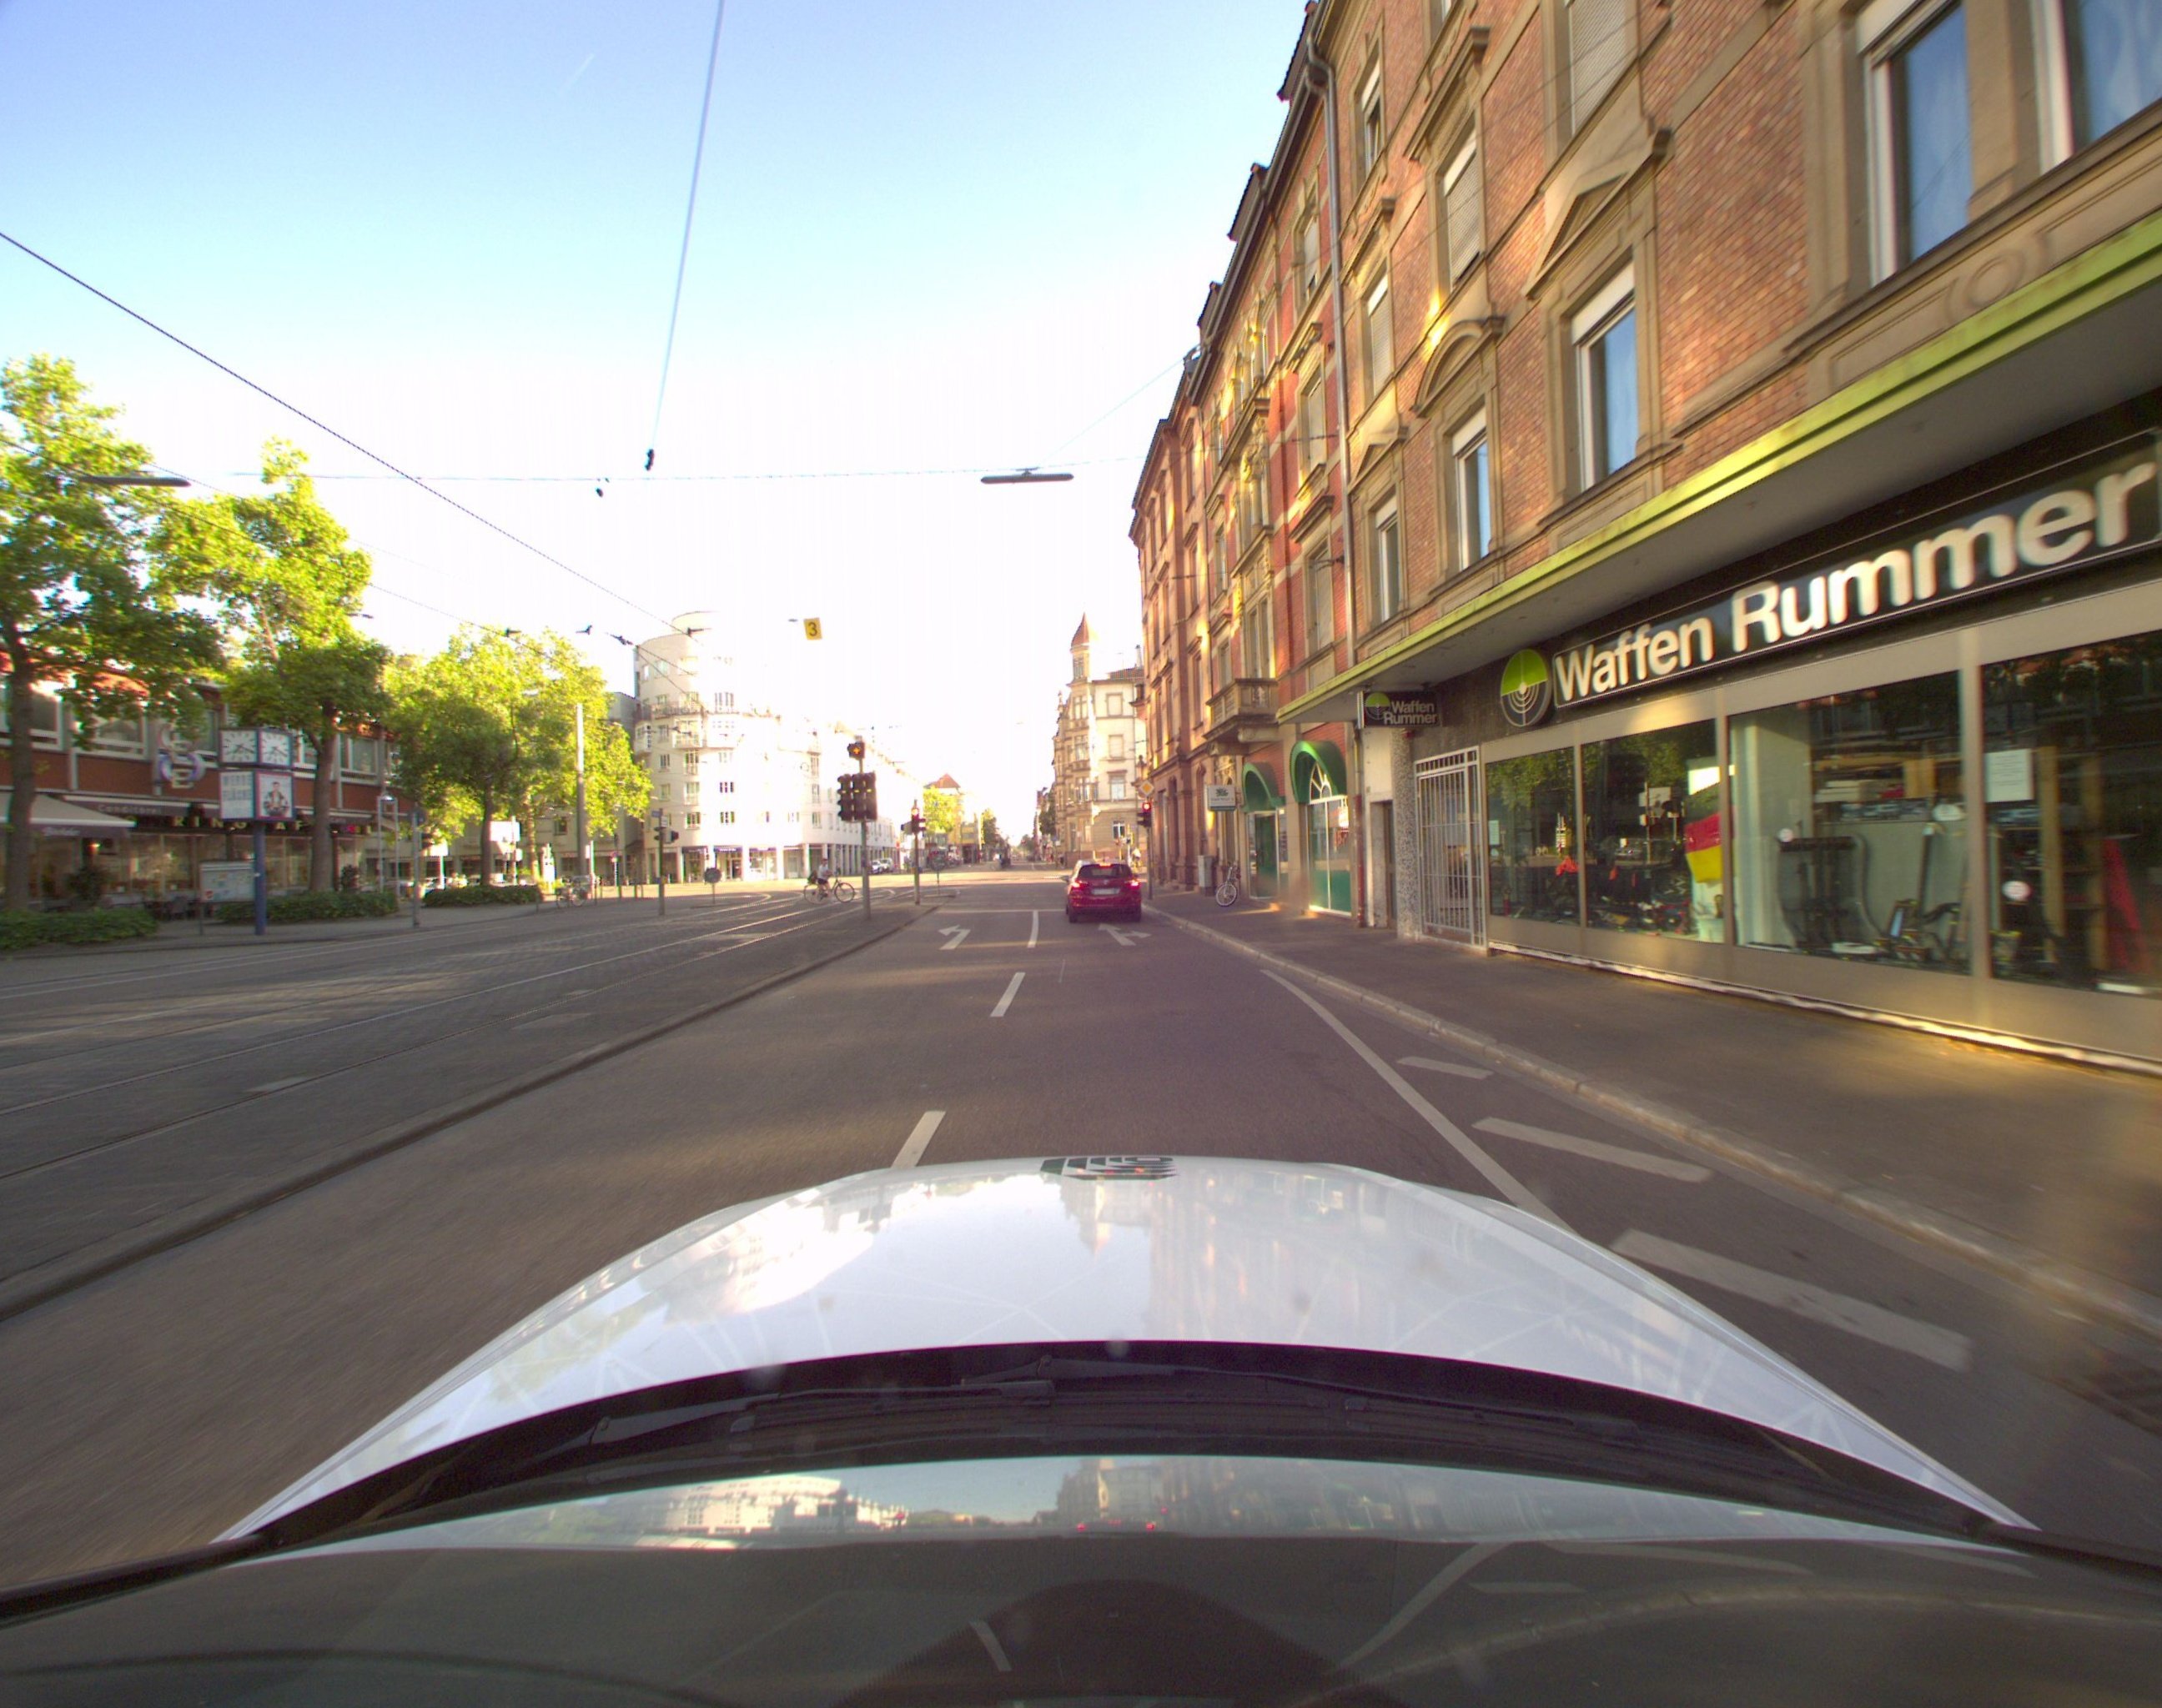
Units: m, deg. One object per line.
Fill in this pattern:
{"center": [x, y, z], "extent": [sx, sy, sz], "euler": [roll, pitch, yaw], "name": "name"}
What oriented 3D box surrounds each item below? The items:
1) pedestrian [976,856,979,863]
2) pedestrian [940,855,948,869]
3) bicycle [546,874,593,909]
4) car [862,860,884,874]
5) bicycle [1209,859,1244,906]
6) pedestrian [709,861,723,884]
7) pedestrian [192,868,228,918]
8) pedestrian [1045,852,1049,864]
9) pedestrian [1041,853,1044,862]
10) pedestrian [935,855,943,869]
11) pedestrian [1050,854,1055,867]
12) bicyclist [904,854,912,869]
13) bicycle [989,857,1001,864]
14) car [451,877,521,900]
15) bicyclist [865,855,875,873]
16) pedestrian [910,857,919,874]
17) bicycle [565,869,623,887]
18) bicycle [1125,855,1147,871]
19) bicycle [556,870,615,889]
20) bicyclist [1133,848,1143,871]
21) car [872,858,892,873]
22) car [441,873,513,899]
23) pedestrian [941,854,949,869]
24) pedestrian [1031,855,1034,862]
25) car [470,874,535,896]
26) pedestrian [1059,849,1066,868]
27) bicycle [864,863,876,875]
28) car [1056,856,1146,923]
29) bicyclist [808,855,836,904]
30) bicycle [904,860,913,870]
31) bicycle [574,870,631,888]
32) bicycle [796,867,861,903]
{"center": [-26.651, 1.388, 210.181], "extent": [0.631, 1.604, 0.575], "euler": [-2, 0, -21], "name": "pedestrian"}
{"center": [-20.086, 1.192, 119.785], "extent": [1.044, 2.013, 0.957], "euler": [-2, 0, -6], "name": "pedestrian"}
{"center": [-20.344, 1.471, 32.441], "extent": [0.669, 1.327, 1.905], "euler": [1, 0, -1], "name": "bicycle"}
{"center": [-23.851, 1.494, 93.385], "extent": [1.761, 1.546, 3.457], "euler": [-2, 0, -3], "name": "car"}
{"center": [3.894, 0.736, 21.684], "extent": [0.710, 1.152, 1.661], "euler": [-4, 0, 14], "name": "bicycle"}
{"center": [-32.254, 1.620, 71.998], "extent": [0.950, 2.013, 0.931], "euler": [-2, 0, -32], "name": "pedestrian"}
{"center": [-30.604, 1.372, 28.624], "extent": [0.642, 1.722, 0.602], "euler": [0, 1, 15], "name": "pedestrian"}
{"center": [-5.758, 0.733, 137.584], "extent": [0.575, 2.013, 0.631], "euler": [-2, 0, 2], "name": "pedestrian"}
{"center": [-8.564, 0.841, 180.011], "extent": [0.576, 2.013, 0.630], "euler": [-2, 0, -3], "name": "pedestrian"}
{"center": [-20.678, 1.216, 118.376], "extent": [1.044, 2.013, 0.957], "euler": [-2, 0, -6], "name": "pedestrian"}
{"center": [-4.376, 0.970, 124.093], "extent": [0.645, 2.013, 0.682], "euler": [-2, 0, -4], "name": "pedestrian"}
{"center": [-21.905, 0.962, 103.074], "extent": [0.806, 1.821, 0.992], "euler": [-2, 0, -4], "name": "bicyclist"}
{"center": [-26.070, 1.837, 246.488], "extent": [3.418, 2.013, 1.111], "euler": [-2, 0, -4], "name": "bicycle"}
{"center": [-38.609, 2.261, 52.830], "extent": [3.970, 1.295, 1.781], "euler": [-2, 0, 21], "name": "car"}
{"center": [-20.928, 0.991, 80.849], "extent": [0.806, 1.726, 0.793], "euler": [-2, 0, -4], "name": "bicyclist"}
{"center": [-17.629, 1.202, 86.364], "extent": [0.766, 1.730, 0.572], "euler": [-2, 0, -2], "name": "pedestrian"}
{"center": [-45.776, 2.240, 76.535], "extent": [4.689, 1.530, 1.066], "euler": [-2, 0, -1], "name": "bicycle"}
{"center": [4.066, 0.676, 60.241], "extent": [1.468, 1.089, 0.531], "euler": [-2, 0, 25], "name": "bicycle"}
{"center": [-45.875, 2.351, 75.392], "extent": [4.689, 1.530, 1.066], "euler": [-2, 0, -1], "name": "bicycle"}
{"center": [4.189, 0.380, 60.180], "extent": [0.538, 1.676, 0.504], "euler": [-2, 0, 25], "name": "bicyclist"}
{"center": [-24.555, 1.424, 100.664], "extent": [1.698, 1.718, 3.558], "euler": [-2, 0, -4], "name": "car"}
{"center": [-42.149, 2.236, 56.880], "extent": [3.981, 1.559, 1.634], "euler": [-2, 0, 8], "name": "car"}
{"center": [-19.463, 1.085, 116.461], "extent": [1.044, 2.013, 0.957], "euler": [-2, 0, -6], "name": "pedestrian"}
{"center": [-12.970, 1.200, 217.604], "extent": [0.576, 1.887, 0.668], "euler": [-2, 0, -4], "name": "pedestrian"}
{"center": [-46.544, 2.465, 65.536], "extent": [3.973, 1.531, 1.617], "euler": [-2, 0, 1], "name": "car"}
{"center": [-2.055, 0.490, 88.803], "extent": [0.650, 2.013, 0.758], "euler": [-2, 0, -5], "name": "pedestrian"}
{"center": [-20.903, 1.508, 80.714], "extent": [0.806, 1.147, 2.046], "euler": [-2, 0, -4], "name": "bicycle"}
{"center": [0.402, 0.799, 20.162], "extent": [1.752, 1.466, 3.937], "euler": [0, 0, -6], "name": "car"}
{"center": [-8.892, 0.860, 27.957], "extent": [0.728, 1.627, 0.764], "euler": [-1, -1, -5], "name": "bicyclist"}
{"center": [-21.893, 1.408, 103.210], "extent": [0.806, 1.147, 2.007], "euler": [-2, 0, -4], "name": "bicycle"}
{"center": [-45.857, 2.348, 78.083], "extent": [4.689, 1.530, 1.066], "euler": [-2, 0, -1], "name": "bicycle"}
{"center": [-8.782, 1.087, 28.384], "extent": [2.015, 1.177, 0.627], "euler": [-2, -1, -6], "name": "bicycle"}
